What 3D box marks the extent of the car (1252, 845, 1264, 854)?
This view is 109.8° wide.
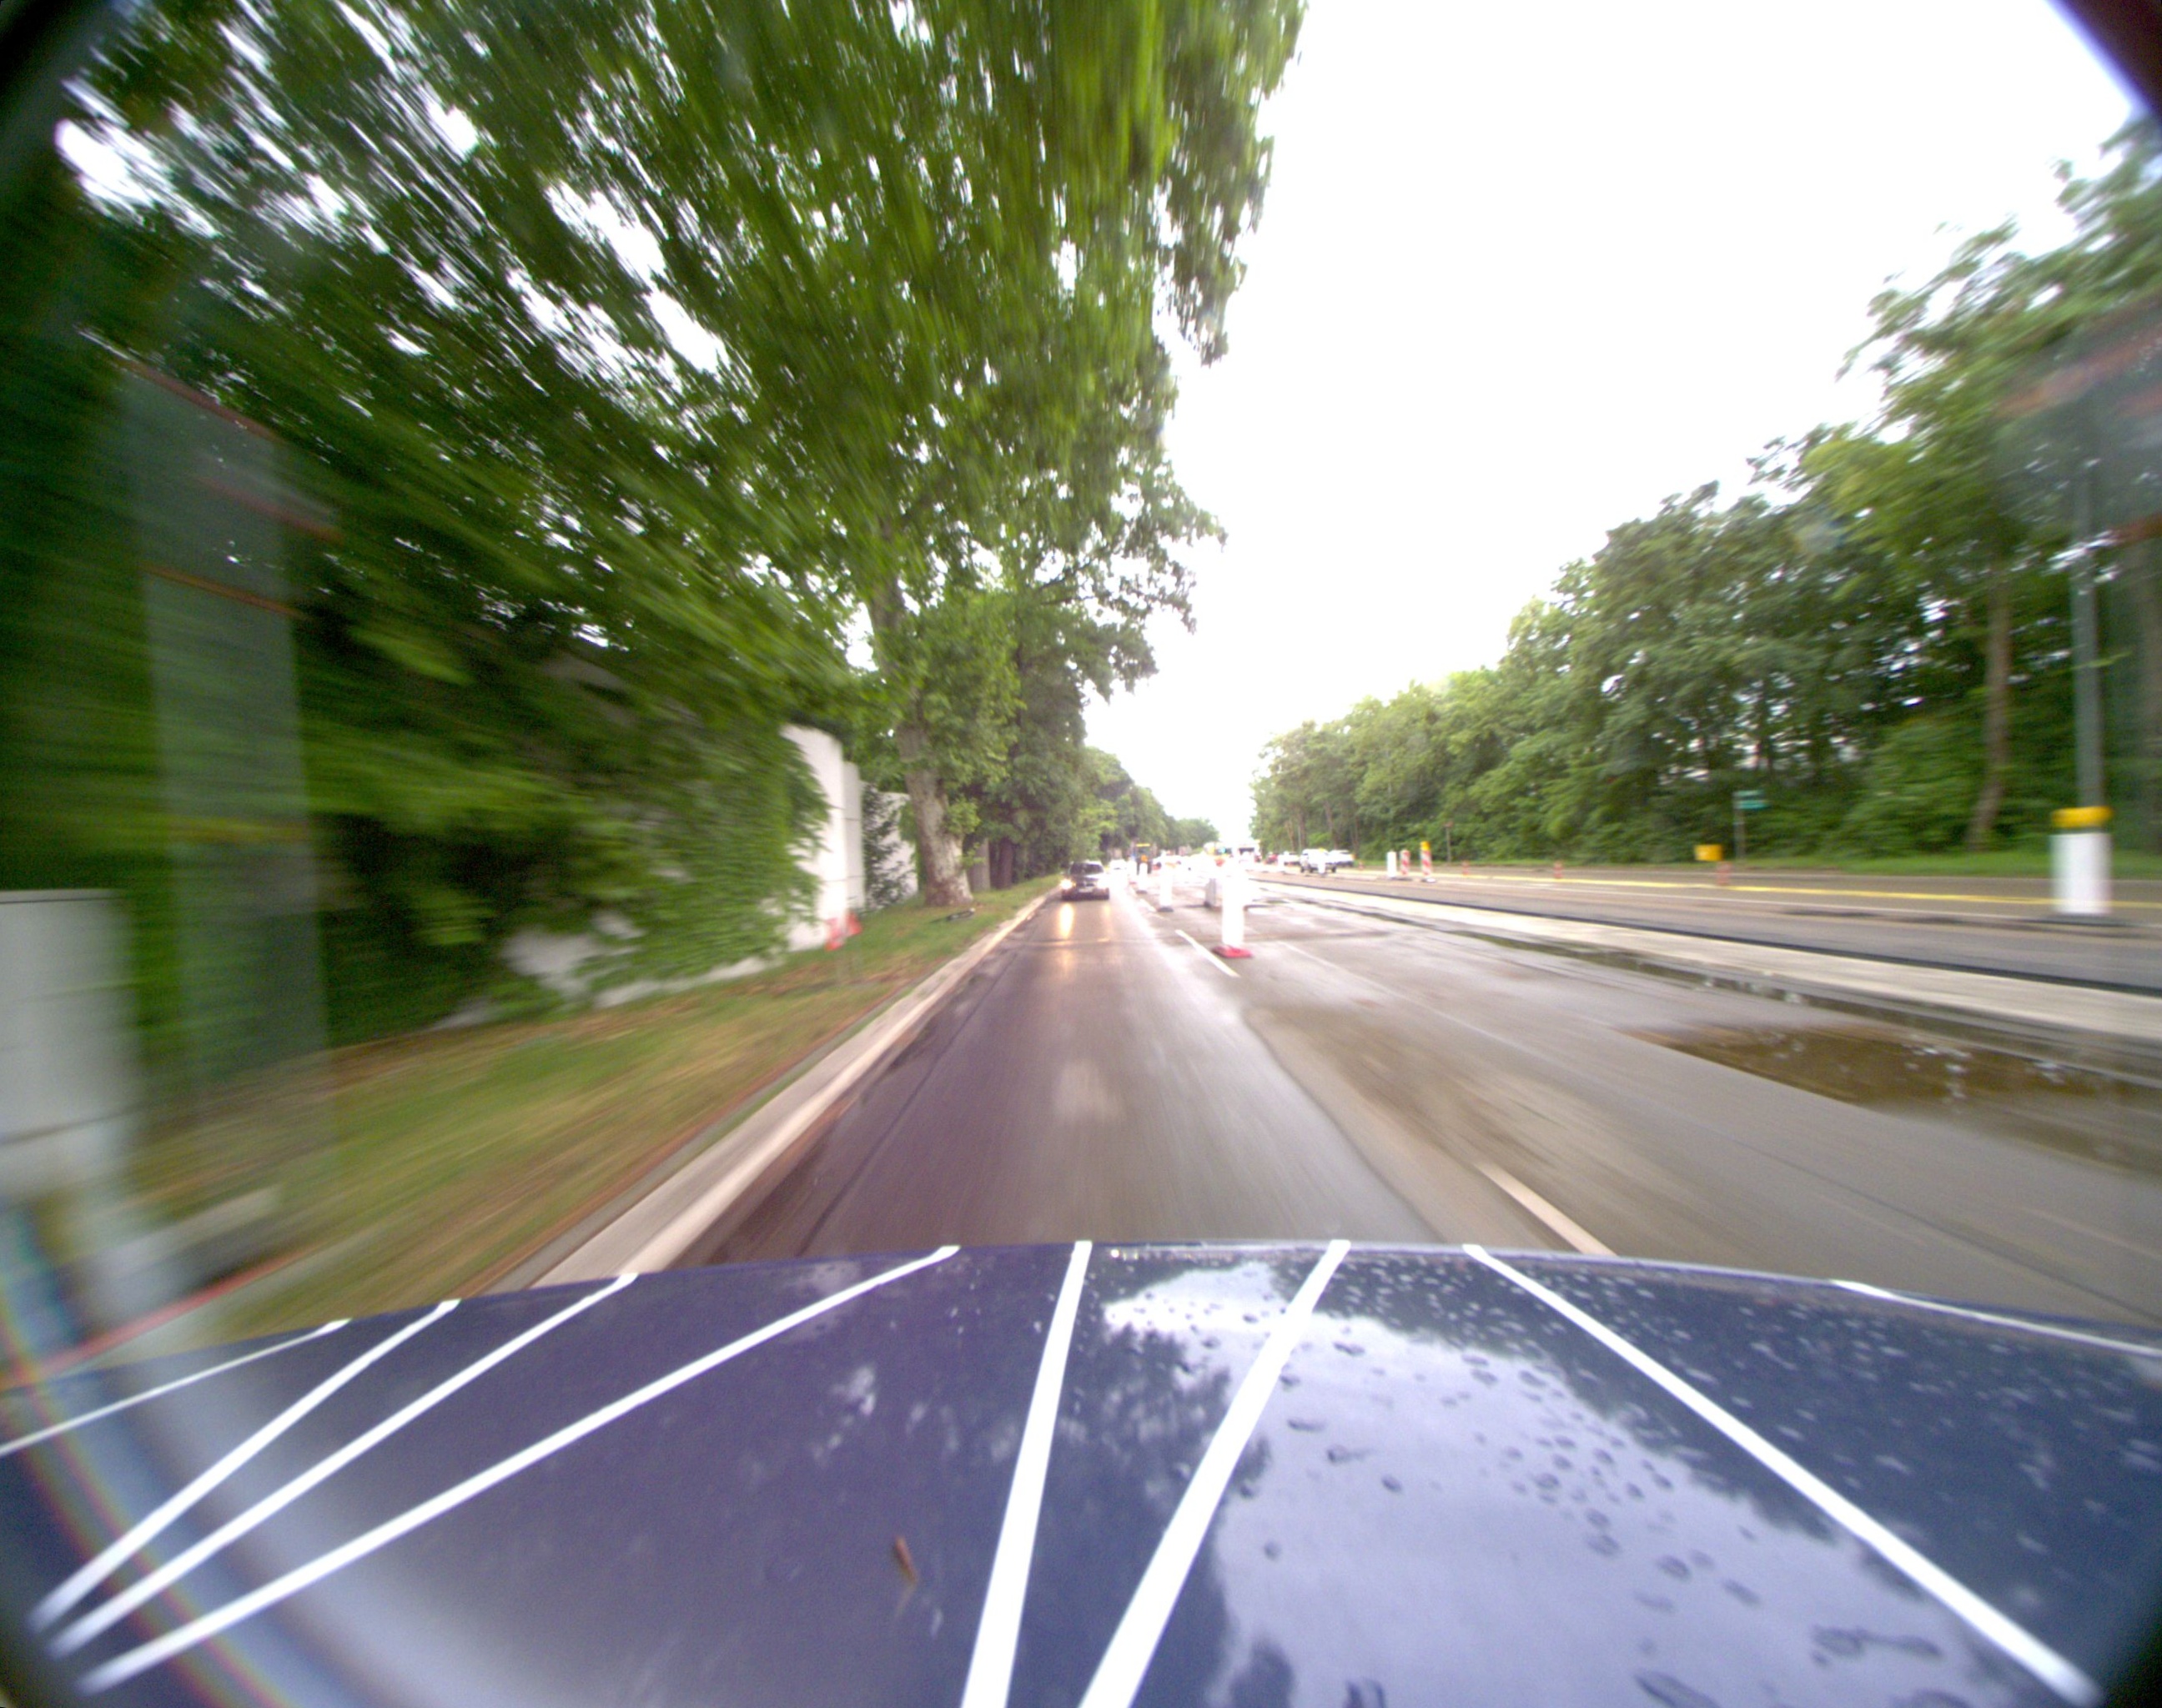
[{"bbox_3d":[31.127,-0.839,133.664,1.787,1.444,4.684,-2,0,9],"label":"car"}]

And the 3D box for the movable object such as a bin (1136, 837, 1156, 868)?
[{"bbox_3d":[6.597,-0.152,77.028,1.807,2.968,5.247,-2,0,5],"label":"movable object such as a bin"}]

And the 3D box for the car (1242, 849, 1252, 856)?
[{"bbox_3d":[35.207,-0.288,161.257,1.787,1.418,4.472,-2,0,10],"label":"car"}]

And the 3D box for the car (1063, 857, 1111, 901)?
[{"bbox_3d":[0.268,0.909,29.368,1.701,1.477,4.000,-2,1,2],"label":"car"}]

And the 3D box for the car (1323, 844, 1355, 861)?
[{"bbox_3d":[23.537,-0.157,69.495,1.670,1.532,4.158,0,0,1],"label":"car"}]

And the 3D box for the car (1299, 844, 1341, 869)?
[{"bbox_3d":[16.376,0.173,52.251,1.793,1.574,3.861,-3,0,3],"label":"car"}]

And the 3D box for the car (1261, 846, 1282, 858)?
[{"bbox_3d":[26.645,-0.265,106.493,1.781,1.654,4.915,-1,0,1],"label":"car"}]

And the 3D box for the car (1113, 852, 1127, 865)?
[{"bbox_3d":[5.595,0.586,108.511,1.706,1.681,4.474,-2,1,8],"label":"car"}]

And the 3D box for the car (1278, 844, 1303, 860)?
[{"bbox_3d":[25.354,-0.255,92.071,1.781,1.741,4.380,-2,0,0],"label":"car"}]
